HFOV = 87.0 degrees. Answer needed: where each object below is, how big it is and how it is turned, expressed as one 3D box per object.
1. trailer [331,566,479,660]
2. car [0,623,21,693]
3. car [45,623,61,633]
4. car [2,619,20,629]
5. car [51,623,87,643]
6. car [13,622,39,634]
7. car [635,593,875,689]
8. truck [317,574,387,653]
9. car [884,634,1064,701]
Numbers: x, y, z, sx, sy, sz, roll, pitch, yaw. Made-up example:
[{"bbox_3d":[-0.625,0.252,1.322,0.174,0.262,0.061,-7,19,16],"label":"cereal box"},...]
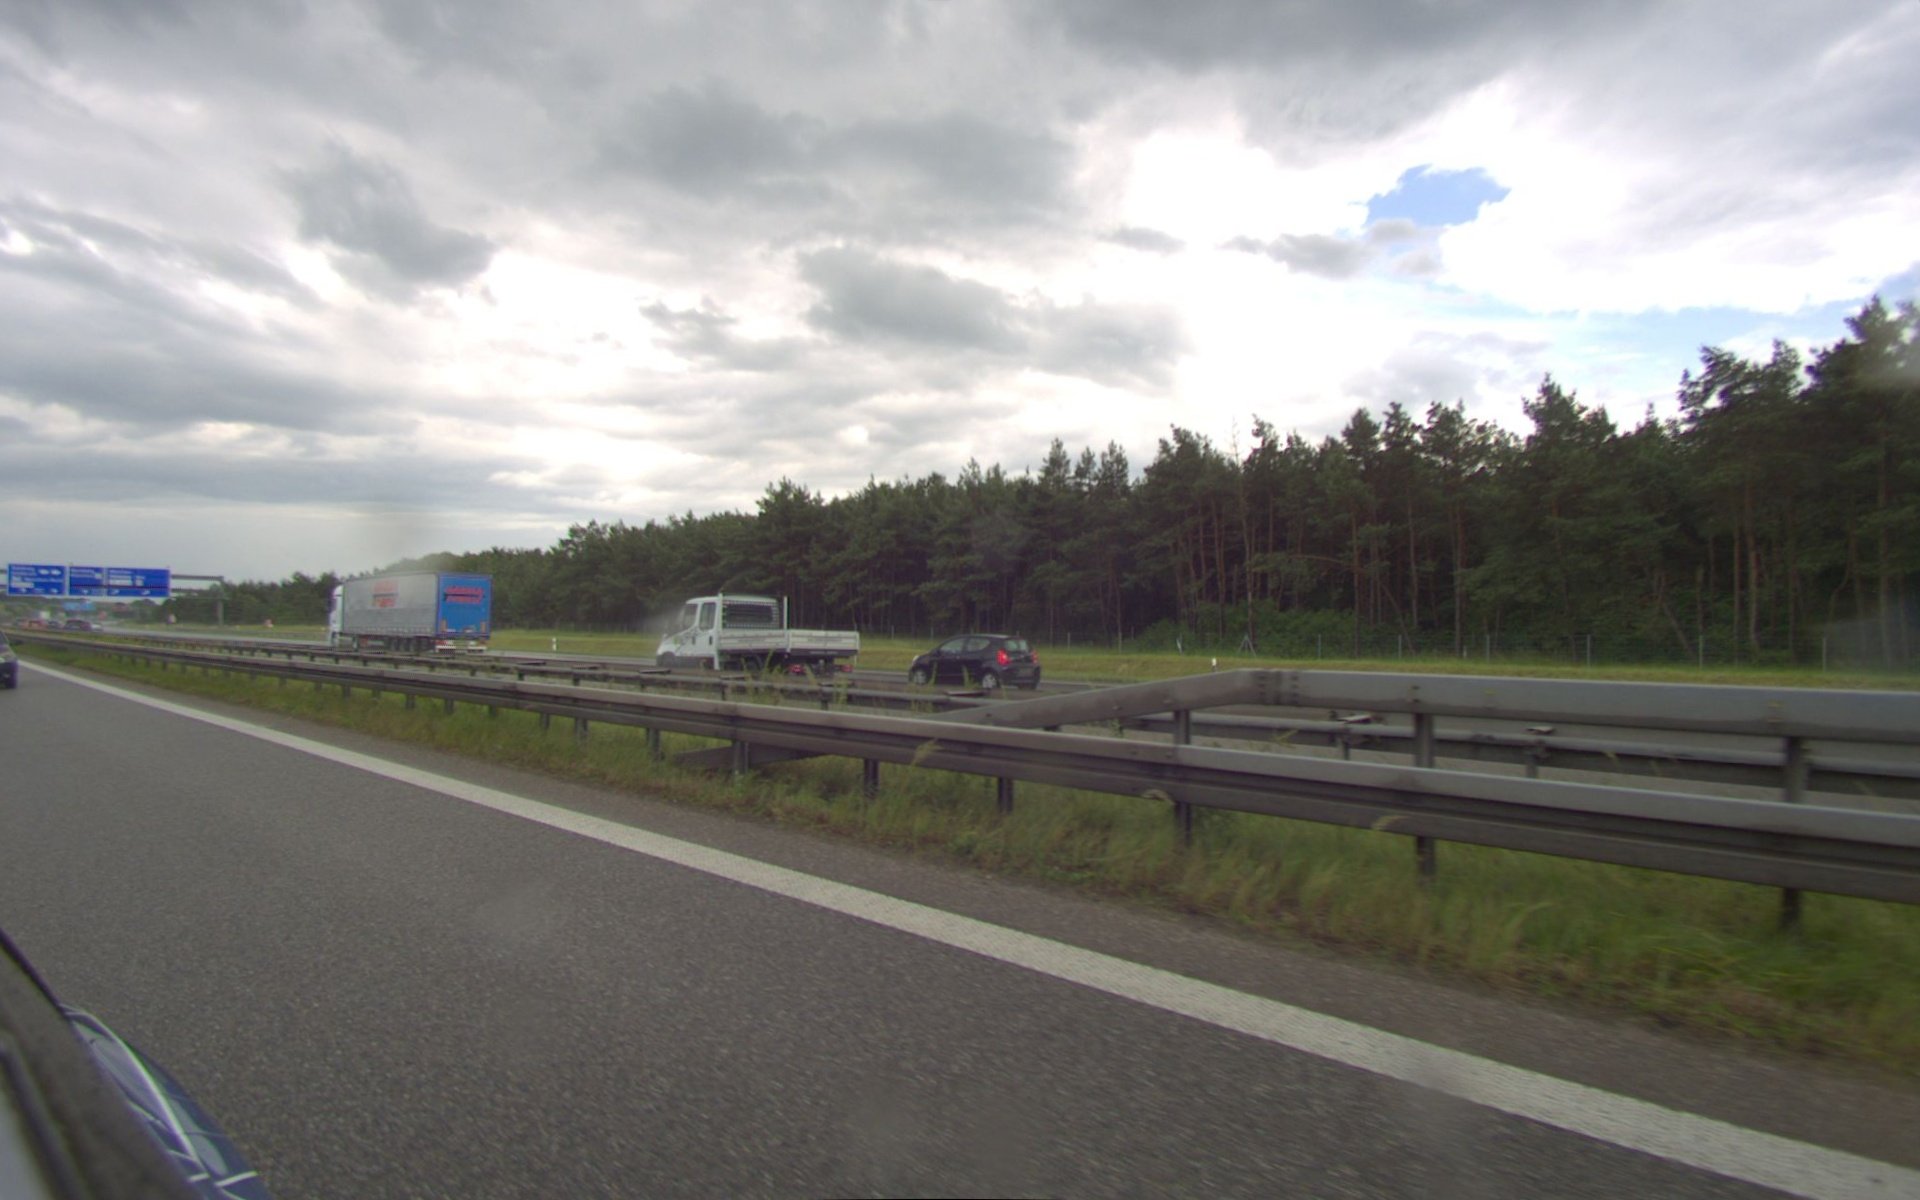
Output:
[{"bbox_3d":[-28.788,0.645,51.919,14.625,4.273,2.075,-1,0,43],"label":"trailer"},{"bbox_3d":[-21.127,1.197,21.304,4.433,1.339,1.785,-1,0,44],"label":"car"},{"bbox_3d":[-141.320,4.327,157.674,1.619,1.483,4.403,1,-2,-45],"label":"car"},{"bbox_3d":[-148.159,3.690,157.939,1.971,1.483,4.119,-1,1,-45],"label":"car"},{"bbox_3d":[-79.711,2.941,90.511,4.470,1.674,1.840,-1,-2,41],"label":"car"},{"bbox_3d":[-111.493,3.308,120.750,4.652,1.375,1.895,-1,-2,43],"label":"car"},{"bbox_3d":[-5.190,0.922,24.748,6.739,2.029,2.258,-1,0,43],"label":"car"},{"bbox_3d":[-34.323,0.729,57.076,4.707,4.269,2.116,-1,0,43],"label":"truck"},{"bbox_3d":[0.282,1.624,25.347,4.560,1.471,1.654,-1,-2,42],"label":"car"}]
